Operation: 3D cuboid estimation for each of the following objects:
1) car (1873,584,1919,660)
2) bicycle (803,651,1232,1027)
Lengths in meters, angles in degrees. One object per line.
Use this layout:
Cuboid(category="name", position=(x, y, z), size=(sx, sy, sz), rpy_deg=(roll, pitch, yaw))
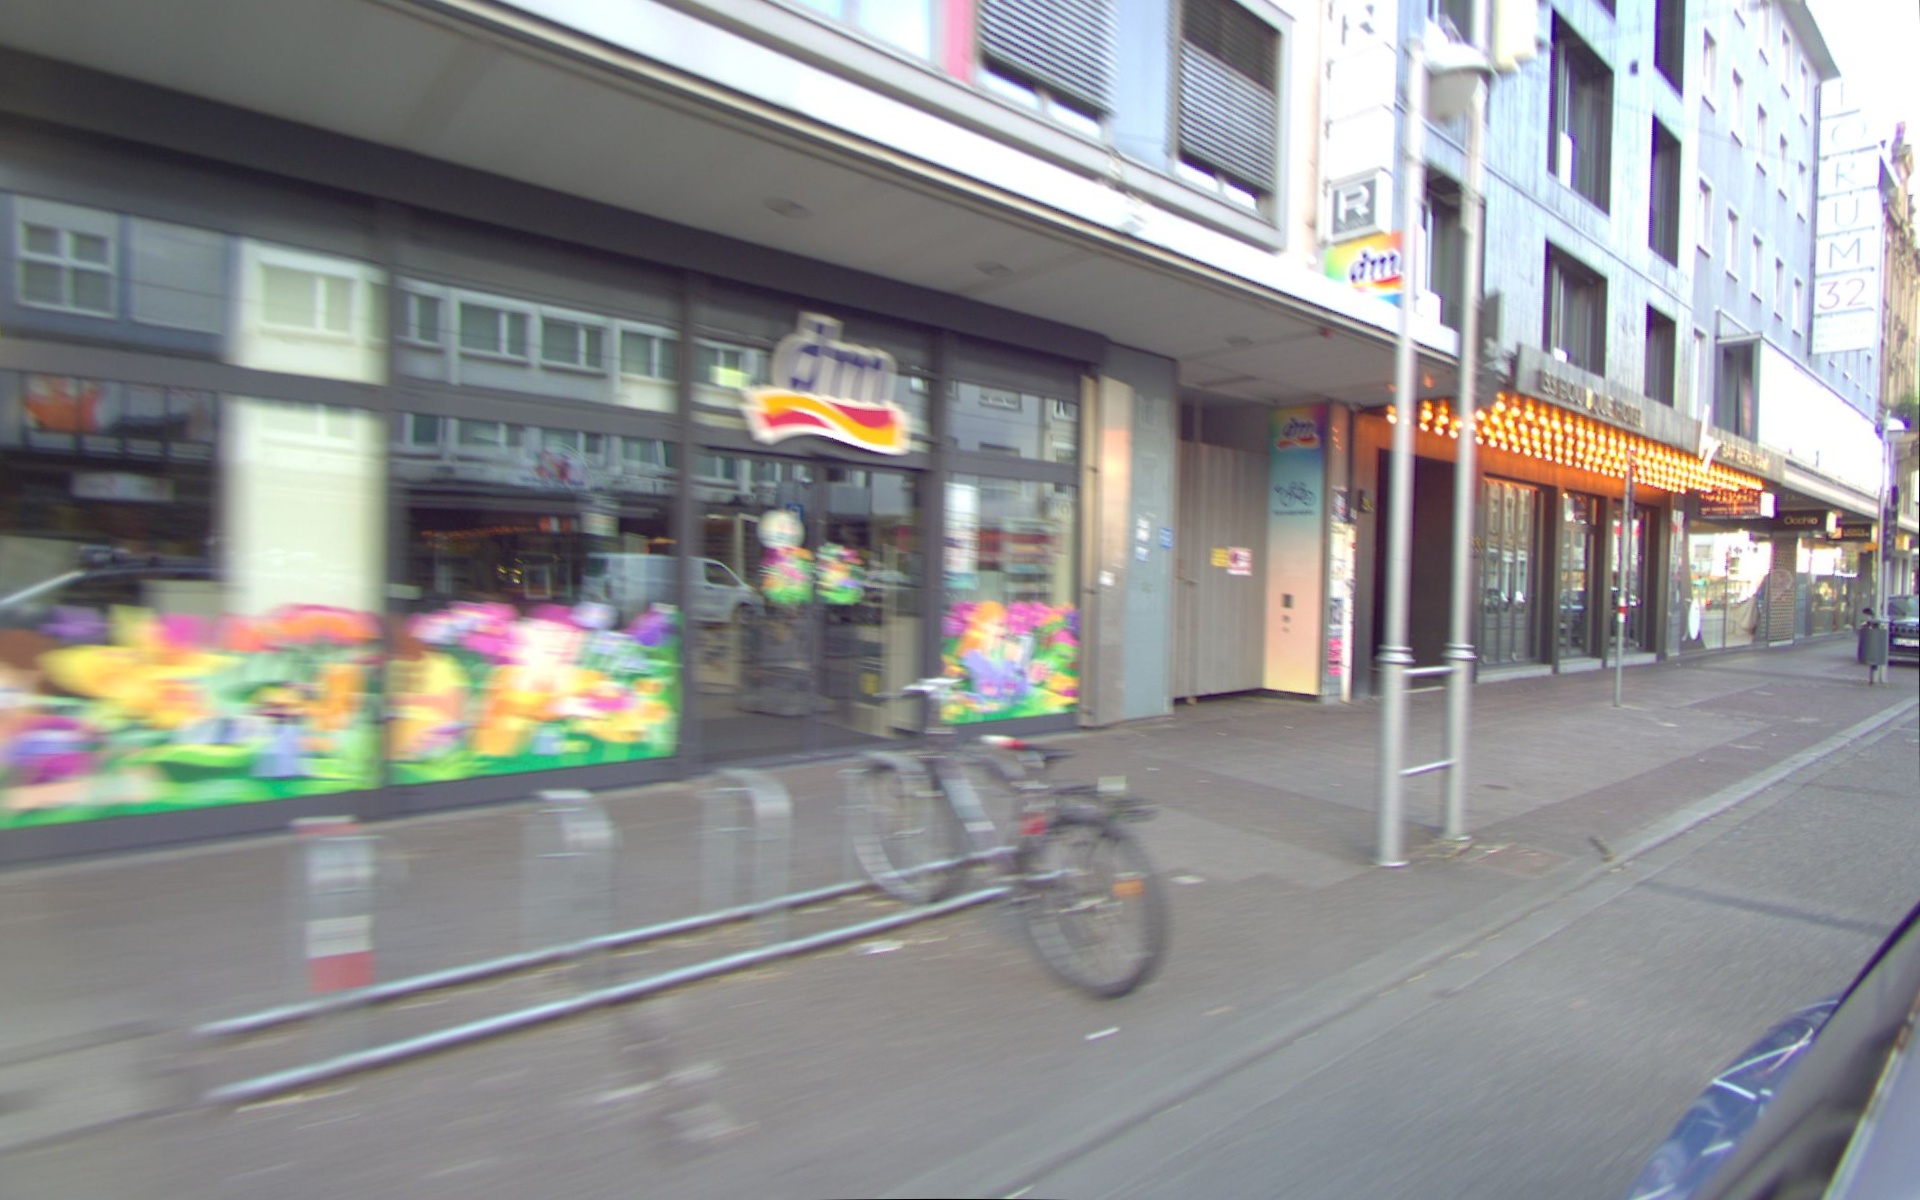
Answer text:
Cuboid(category="car", position=(21.447, 0.443, 22.131), size=(3.897, 1.560, 1.743), rpy_deg=(-1, 2, -41))
Cuboid(category="bicycle", position=(0.126, 0.805, 4.059), size=(0.566, 0.984, 1.797), rpy_deg=(0, 4, -43))
